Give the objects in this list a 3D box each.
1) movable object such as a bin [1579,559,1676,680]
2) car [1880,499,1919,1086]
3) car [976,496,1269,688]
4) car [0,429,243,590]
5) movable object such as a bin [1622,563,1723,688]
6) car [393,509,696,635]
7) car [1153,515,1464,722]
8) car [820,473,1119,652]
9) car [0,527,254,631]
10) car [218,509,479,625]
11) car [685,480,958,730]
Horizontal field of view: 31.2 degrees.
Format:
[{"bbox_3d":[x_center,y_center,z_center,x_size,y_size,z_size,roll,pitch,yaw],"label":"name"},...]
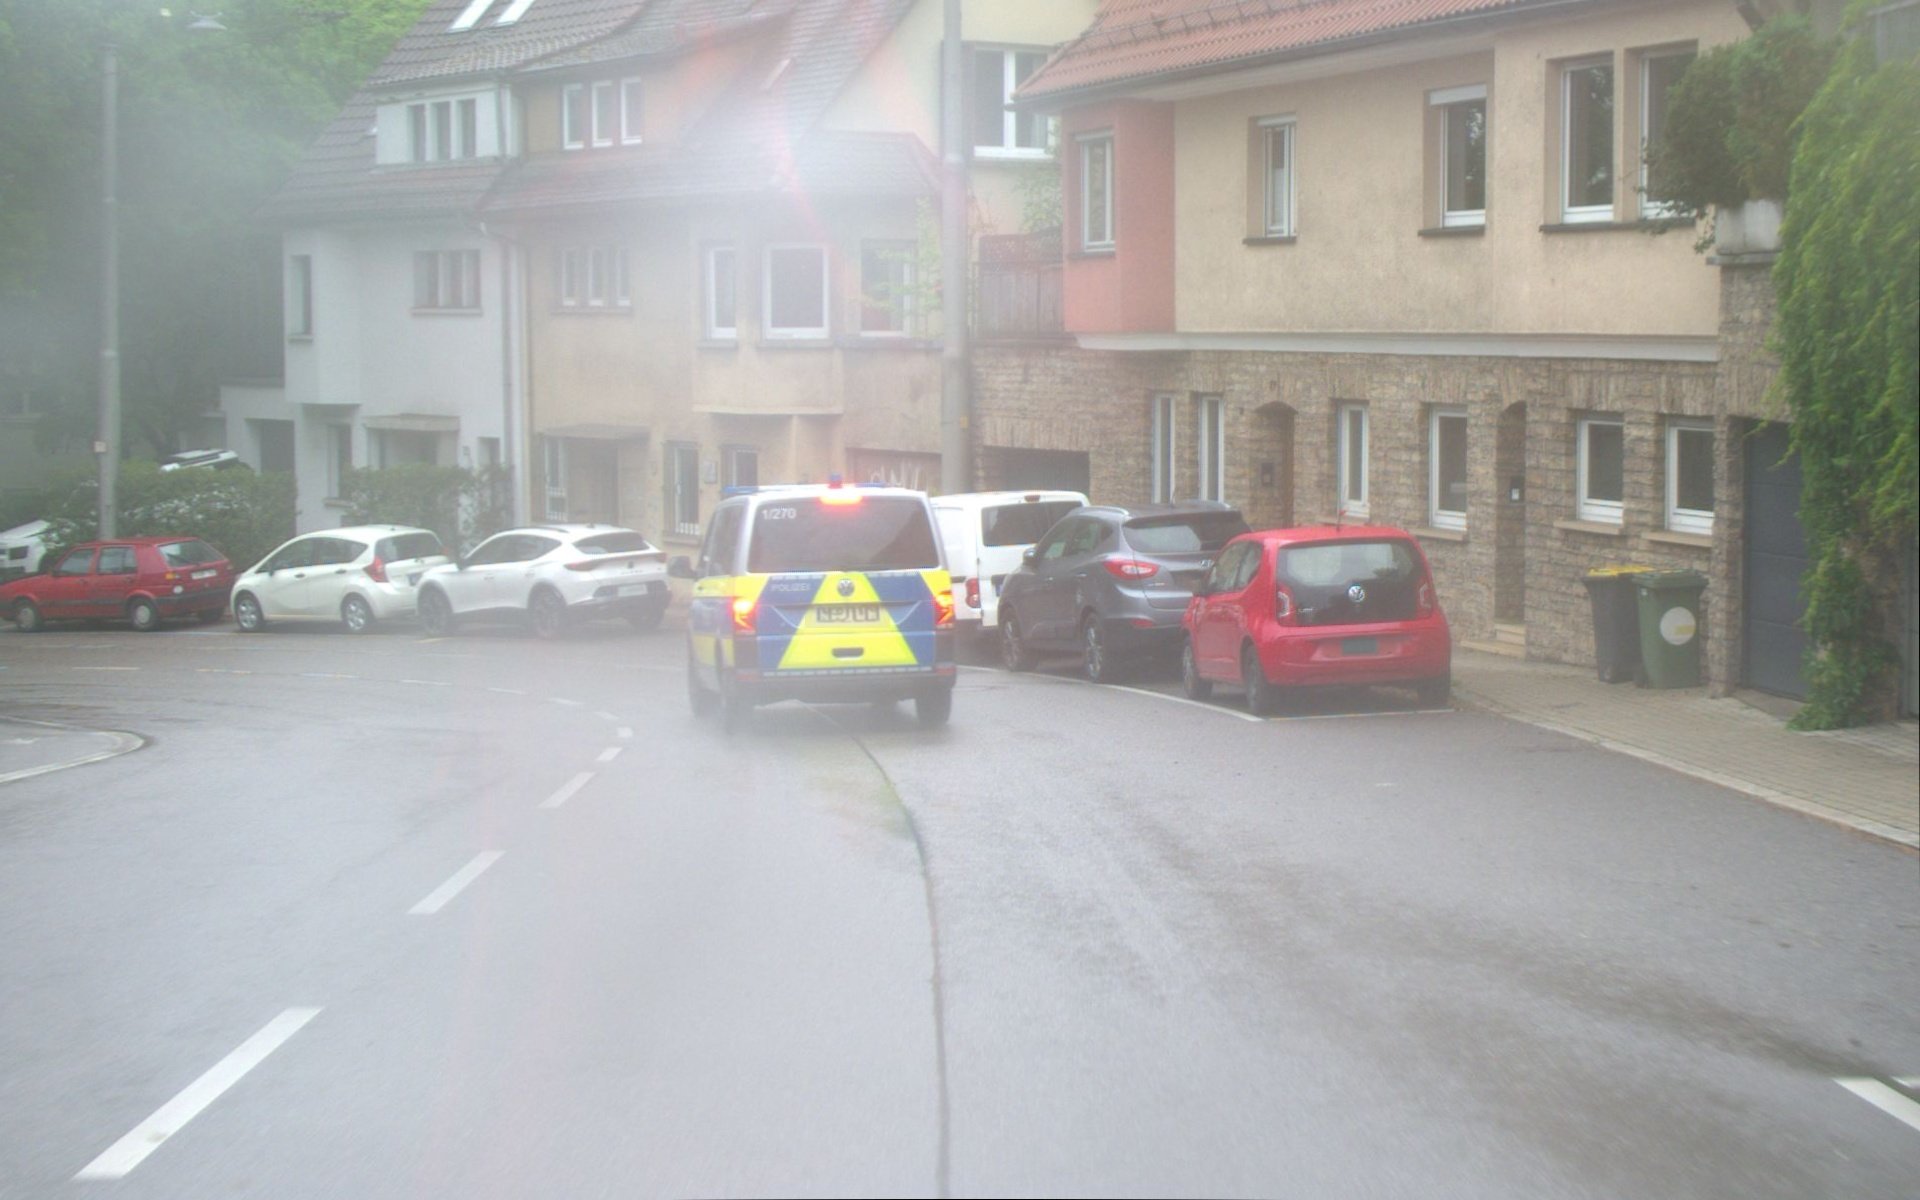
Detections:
[{"bbox_3d":[5.448,0.153,28.066,0.587,0.920,0.508,-5,3,-7],"label":"movable object such as a bin"},{"bbox_3d":[3.513,0.565,7.523,1.733,1.588,4.254,-1,2,-2],"label":"car"},{"bbox_3d":[1.521,-0.142,33.898,1.615,1.599,4.413,-5,3,-13],"label":"car"},{"bbox_3d":[-15.198,-1.635,60.418,4.398,1.835,2.000,-16,11,-30],"label":"car"},{"bbox_3d":[5.665,0.195,27.334,0.595,0.920,0.514,-5,3,-7],"label":"movable object such as a bin"},{"bbox_3d":[-5.809,-0.382,47.741,1.915,1.533,4.412,-7,4,-41],"label":"car"},{"bbox_3d":[2.848,0.100,28.823,1.615,1.430,3.583,-5,3,-9],"label":"car"},{"bbox_3d":[0.037,-0.466,38.700,1.705,1.784,4.327,-5,4,-22],"label":"car"},{"bbox_3d":[-13.374,-0.319,54.172,4.189,1.362,1.783,-2,4,30],"label":"car"},{"bbox_3d":[-9.129,-0.482,51.191,3.820,1.509,1.767,-1,4,42],"label":"car"},{"bbox_3d":[-1.263,0.027,29.184,1.993,1.887,4.571,-2,0,-6],"label":"car"}]
